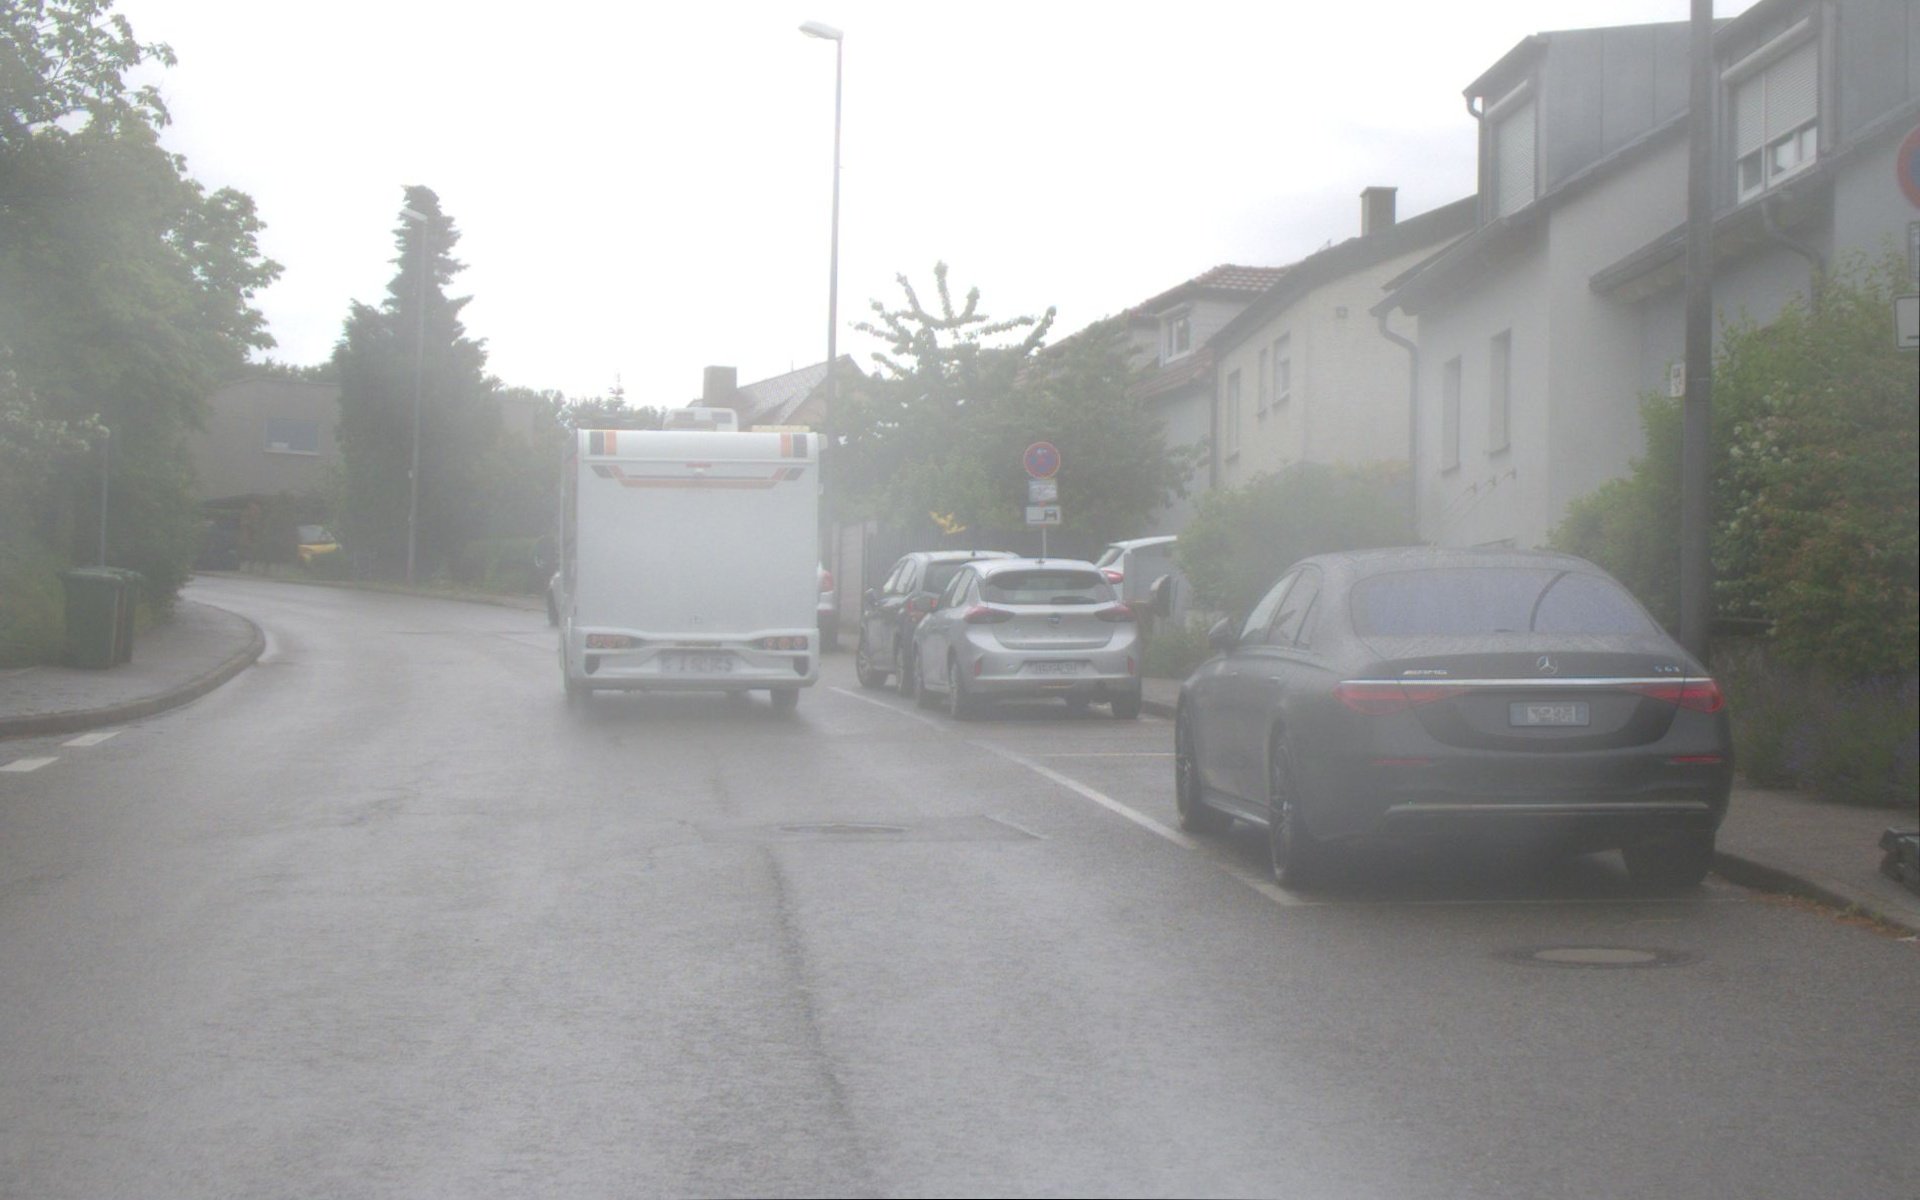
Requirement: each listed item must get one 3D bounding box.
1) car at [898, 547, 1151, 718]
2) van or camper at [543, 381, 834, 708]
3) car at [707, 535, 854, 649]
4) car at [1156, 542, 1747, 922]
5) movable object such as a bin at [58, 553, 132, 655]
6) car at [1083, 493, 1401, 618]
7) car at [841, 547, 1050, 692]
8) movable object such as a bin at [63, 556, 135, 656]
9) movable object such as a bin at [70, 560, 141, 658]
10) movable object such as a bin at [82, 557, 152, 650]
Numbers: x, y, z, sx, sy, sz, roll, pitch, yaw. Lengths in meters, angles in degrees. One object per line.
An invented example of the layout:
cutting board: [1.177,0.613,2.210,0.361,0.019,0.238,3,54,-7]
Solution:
car: [0.536,0.252,32.383,1.768,1.462,4.236,-1,1,-7]
van or camper: [-2.805,-0.529,34.017,2.539,2.915,5.949,1,1,-7]
car: [-2.770,-0.163,52.126,1.804,1.621,4.289,-1,1,-8]
car: [2.183,0.501,16.762,1.857,1.522,5.064,-1,1,-3]
movable object such as a bin: [-9.392,0.042,37.347,0.768,1.093,0.738,0,1,-14]
car: [3.819,-0.581,46.948,3.986,1.584,1.935,1,-1,-7]
car: [-0.213,0.175,37.660,1.659,1.462,3.764,-1,1,-10]
movable object such as a bin: [-9.543,0.059,38.111,0.768,1.093,0.738,0,1,-14]
movable object such as a bin: [-9.668,0.094,38.906,0.768,1.093,0.672,0,1,-14]
movable object such as a bin: [-9.717,0.036,39.635,0.768,1.064,0.691,0,1,-14]
